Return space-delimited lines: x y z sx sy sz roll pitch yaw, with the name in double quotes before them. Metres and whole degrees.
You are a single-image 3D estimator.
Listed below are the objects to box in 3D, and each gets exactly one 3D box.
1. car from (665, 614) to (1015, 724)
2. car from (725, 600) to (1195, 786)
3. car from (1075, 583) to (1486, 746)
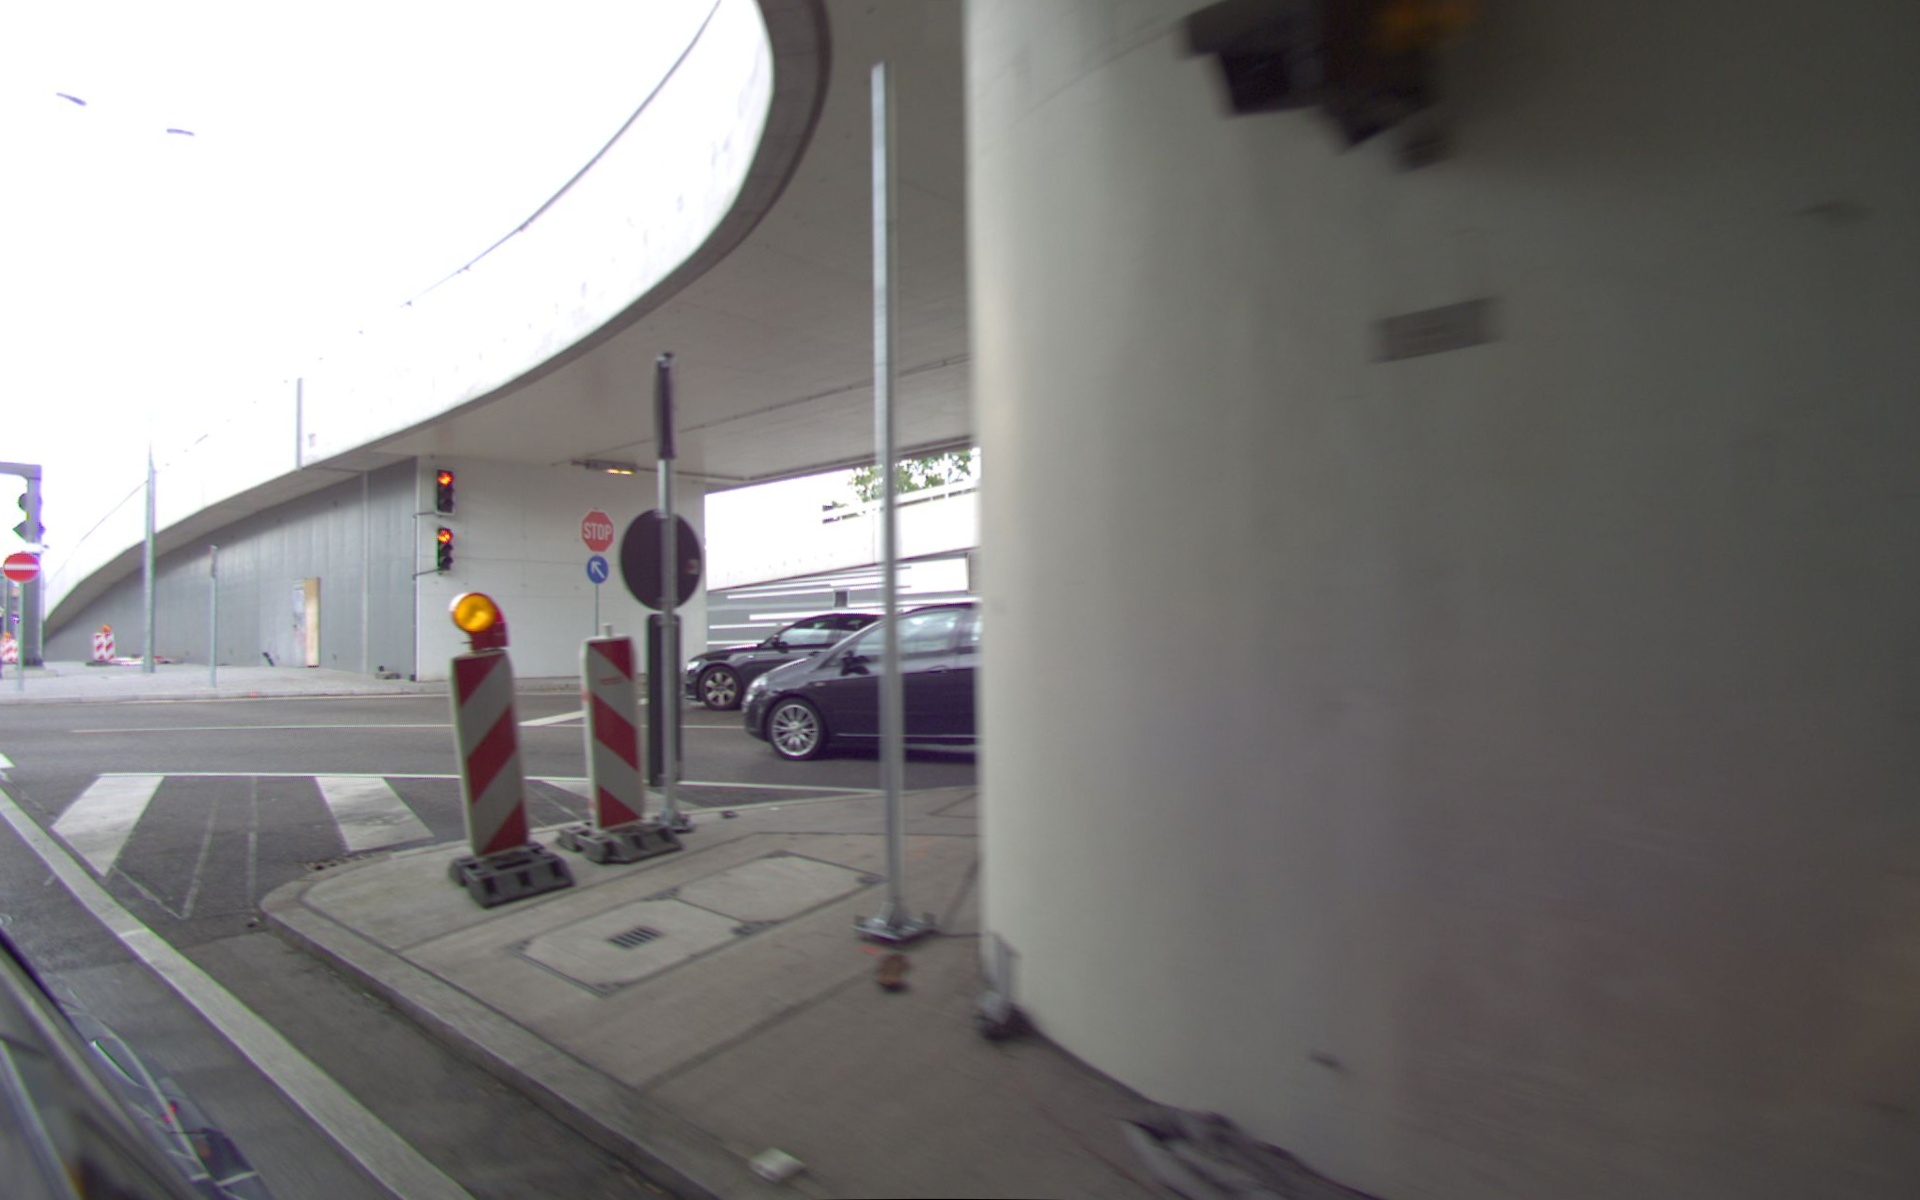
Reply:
"car" -1.735 1.004 14.949 4.799 1.454 1.847 -2 -2 16
"car" -0.020 0.839 9.521 4.086 1.452 1.657 -3 -2 23
"car" 3.689 0.701 11.812 4.308 1.612 1.782 -2 -2 28
